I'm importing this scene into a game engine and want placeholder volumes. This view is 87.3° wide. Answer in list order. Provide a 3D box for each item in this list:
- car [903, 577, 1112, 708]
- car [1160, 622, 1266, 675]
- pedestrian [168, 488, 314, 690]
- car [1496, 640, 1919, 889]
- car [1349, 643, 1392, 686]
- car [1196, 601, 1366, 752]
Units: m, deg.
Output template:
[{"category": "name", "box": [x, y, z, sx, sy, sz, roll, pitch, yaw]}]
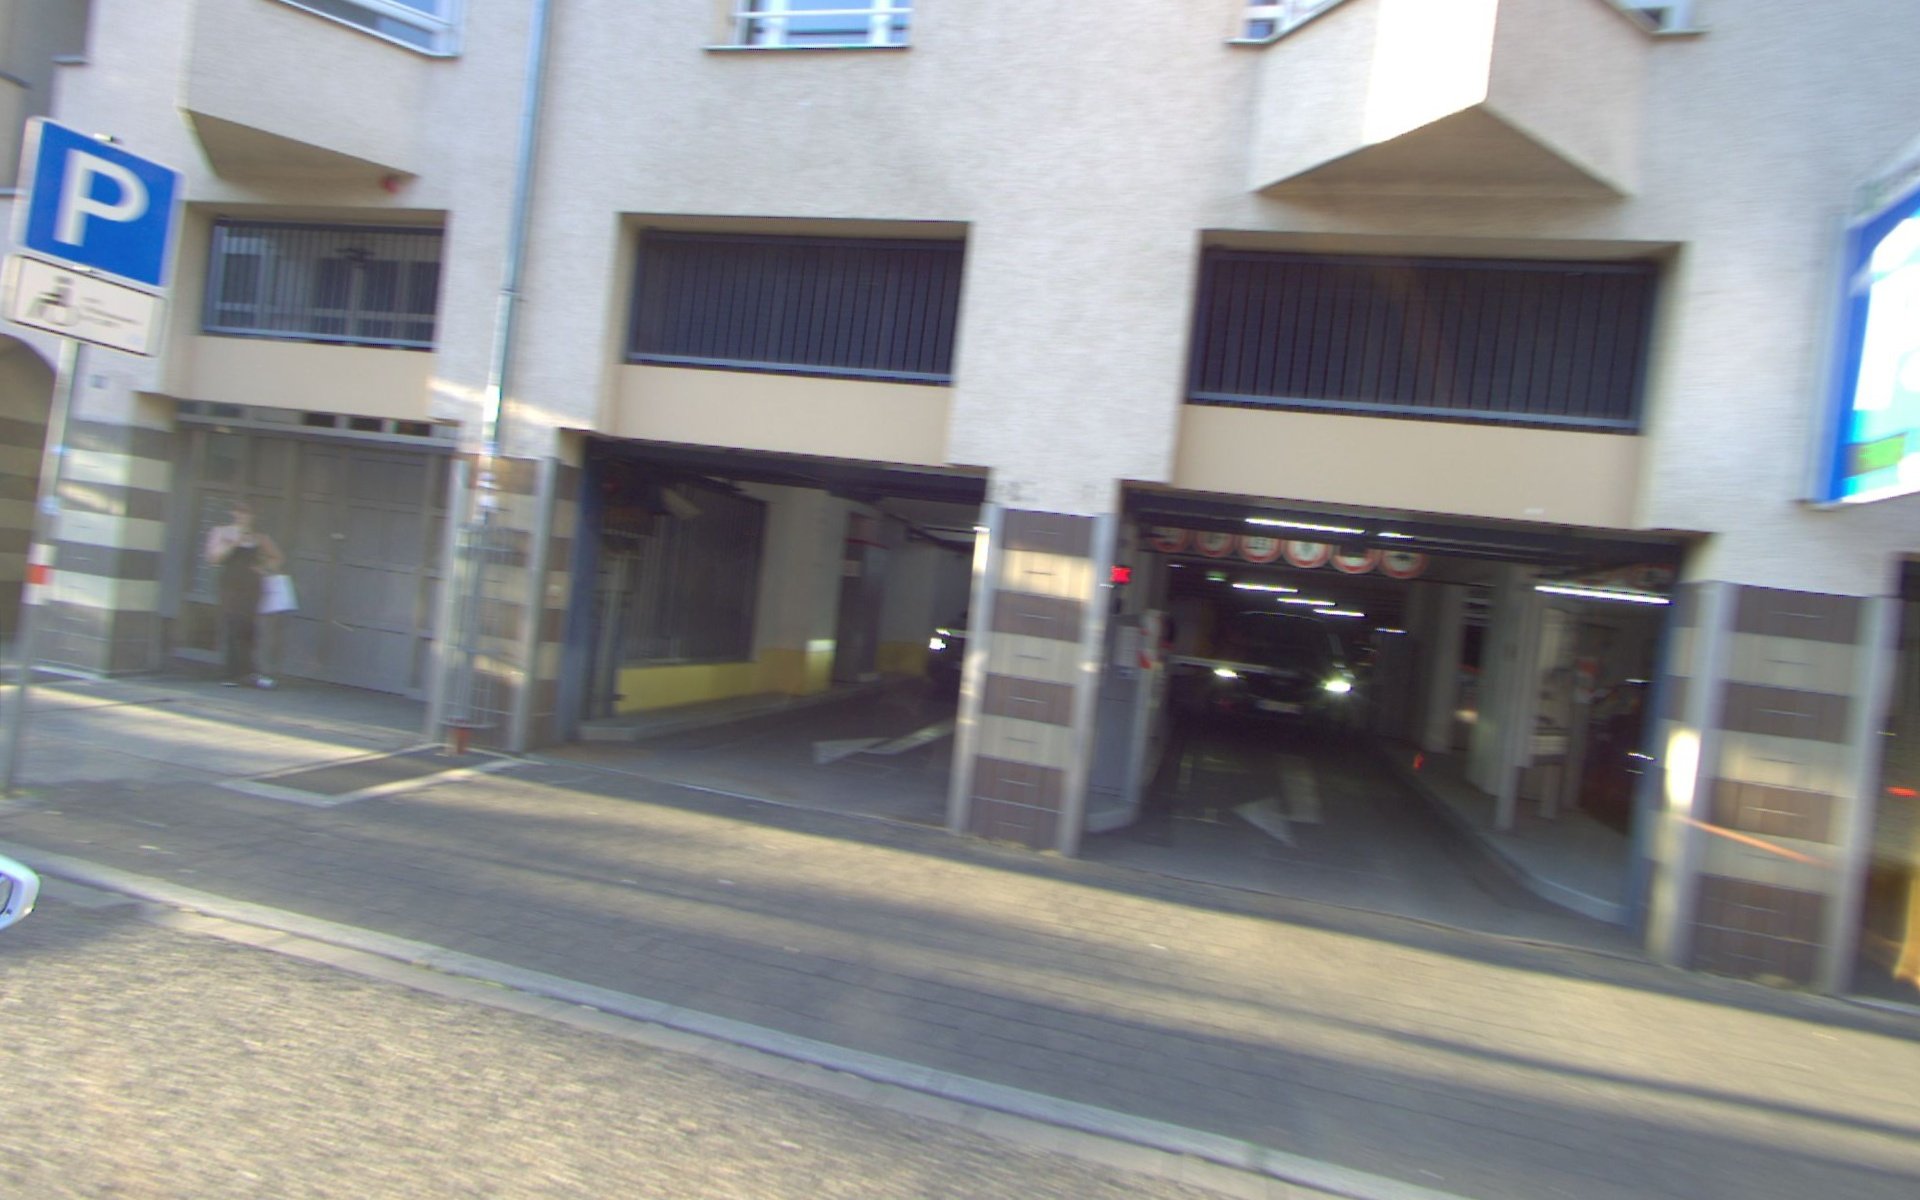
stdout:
[{"category": "car", "box": [0.909, 0.635, 15.693, 1.786, 1.593, 4.247, 6, 0, 23]}, {"category": "car", "box": [9.049, 1.723, 36.284, 1.587, 1.409, 3.859, 6, 1, -22]}, {"category": "pedestrian", "box": [-6.038, -0.079, 8.458, 0.526, 1.592, 0.775, 8, 1, 41]}, {"category": "car", "box": [7.063, 1.380, 10.076, 1.661, 1.584, 4.117, 7, 2, 11]}, {"category": "car", "box": [18.471, 2.847, 45.333, 1.532, 1.638, 3.877, 7, 1, 22]}, {"category": "car", "box": [4.658, 1.025, 14.674, 1.856, 1.644, 4.300, 7, 0, 18]}]
